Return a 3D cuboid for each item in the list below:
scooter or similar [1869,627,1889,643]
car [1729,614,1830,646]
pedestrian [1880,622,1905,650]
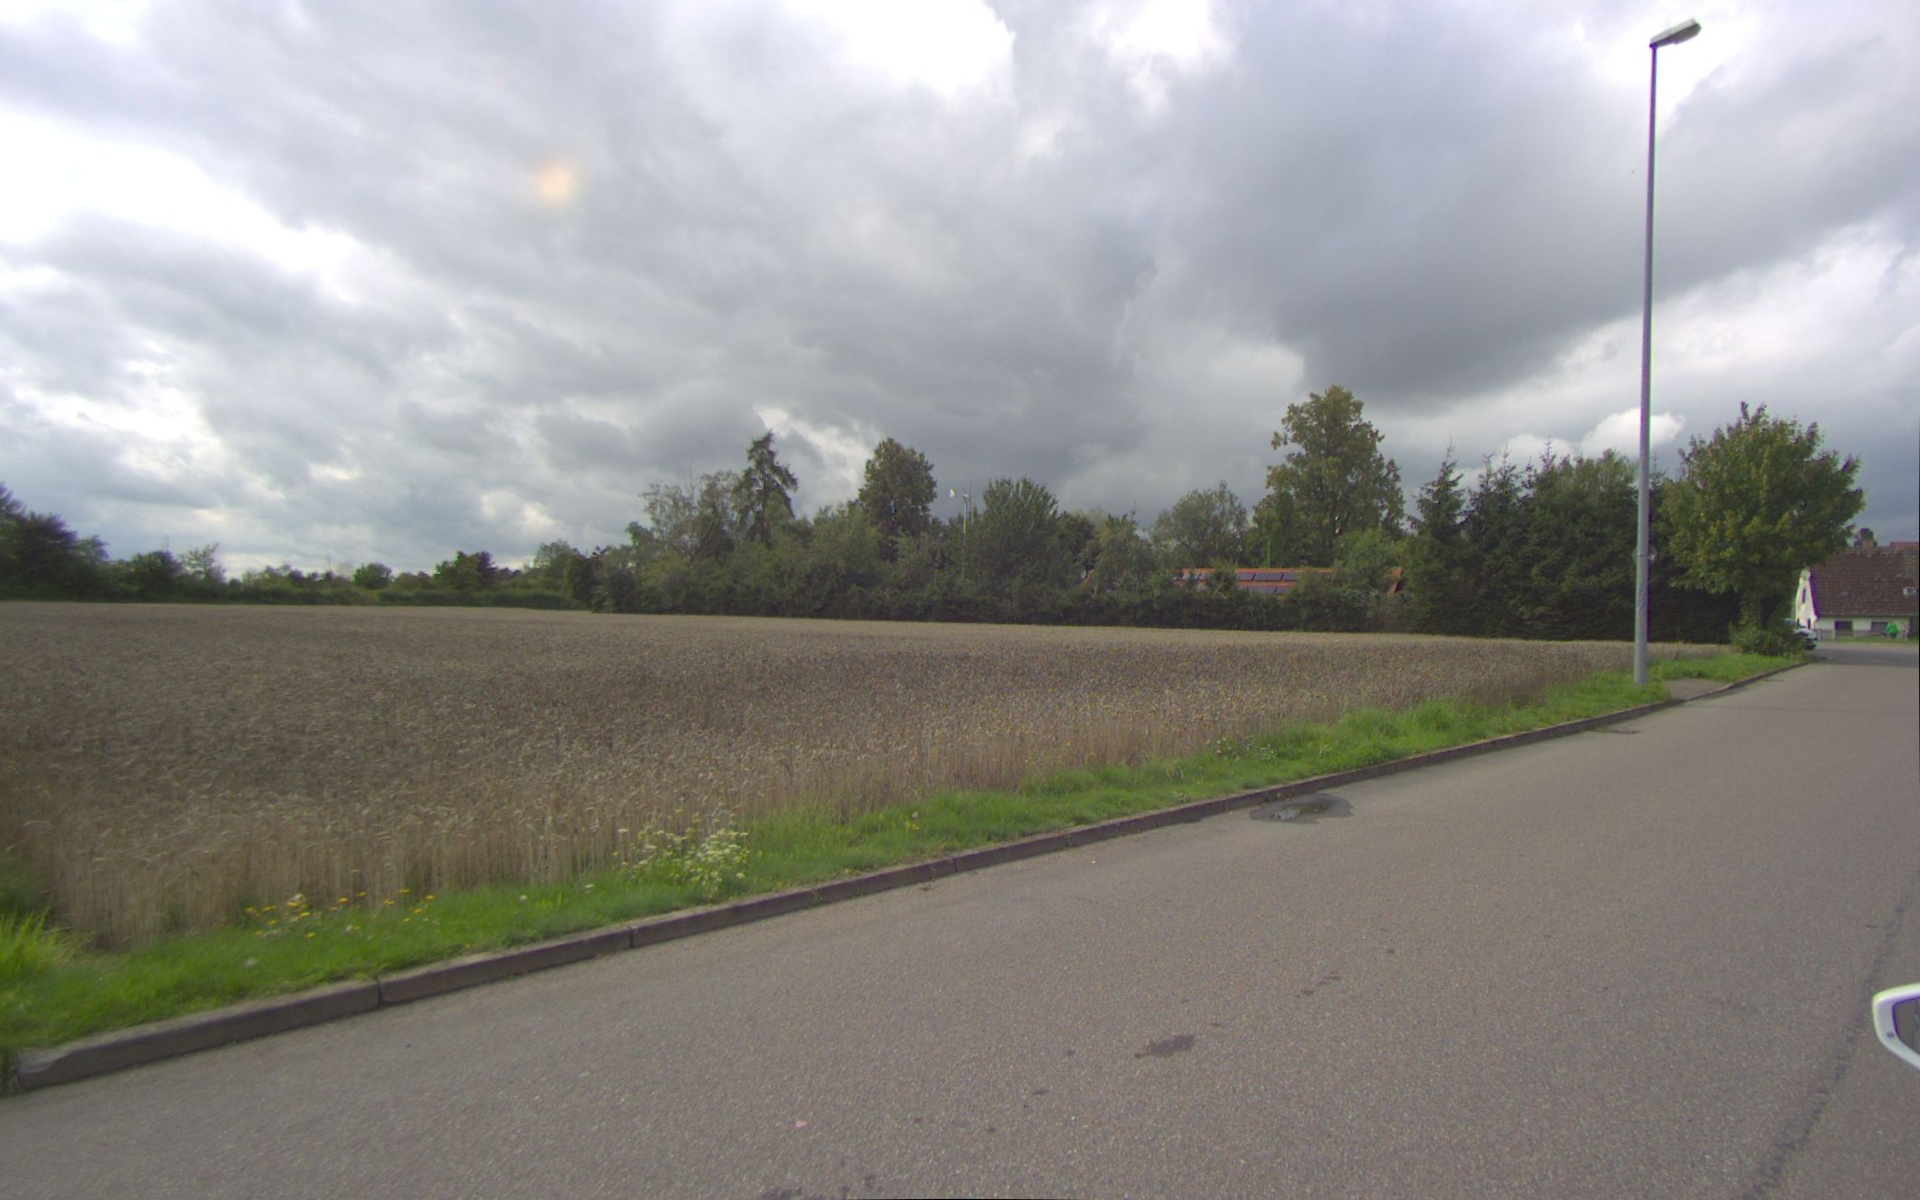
[{"bbox_3d":[57.475,2.190,62.824,0.620,0.960,0.622,5,1,13],"label":"scooter or similar"},{"bbox_3d":[42.368,1.539,52.063,1.770,1.536,3.987,1,0,-5],"label":"car"},{"bbox_3d":[57.599,2.211,62.054,0.775,1.687,0.712,5,1,13],"label":"pedestrian"}]
